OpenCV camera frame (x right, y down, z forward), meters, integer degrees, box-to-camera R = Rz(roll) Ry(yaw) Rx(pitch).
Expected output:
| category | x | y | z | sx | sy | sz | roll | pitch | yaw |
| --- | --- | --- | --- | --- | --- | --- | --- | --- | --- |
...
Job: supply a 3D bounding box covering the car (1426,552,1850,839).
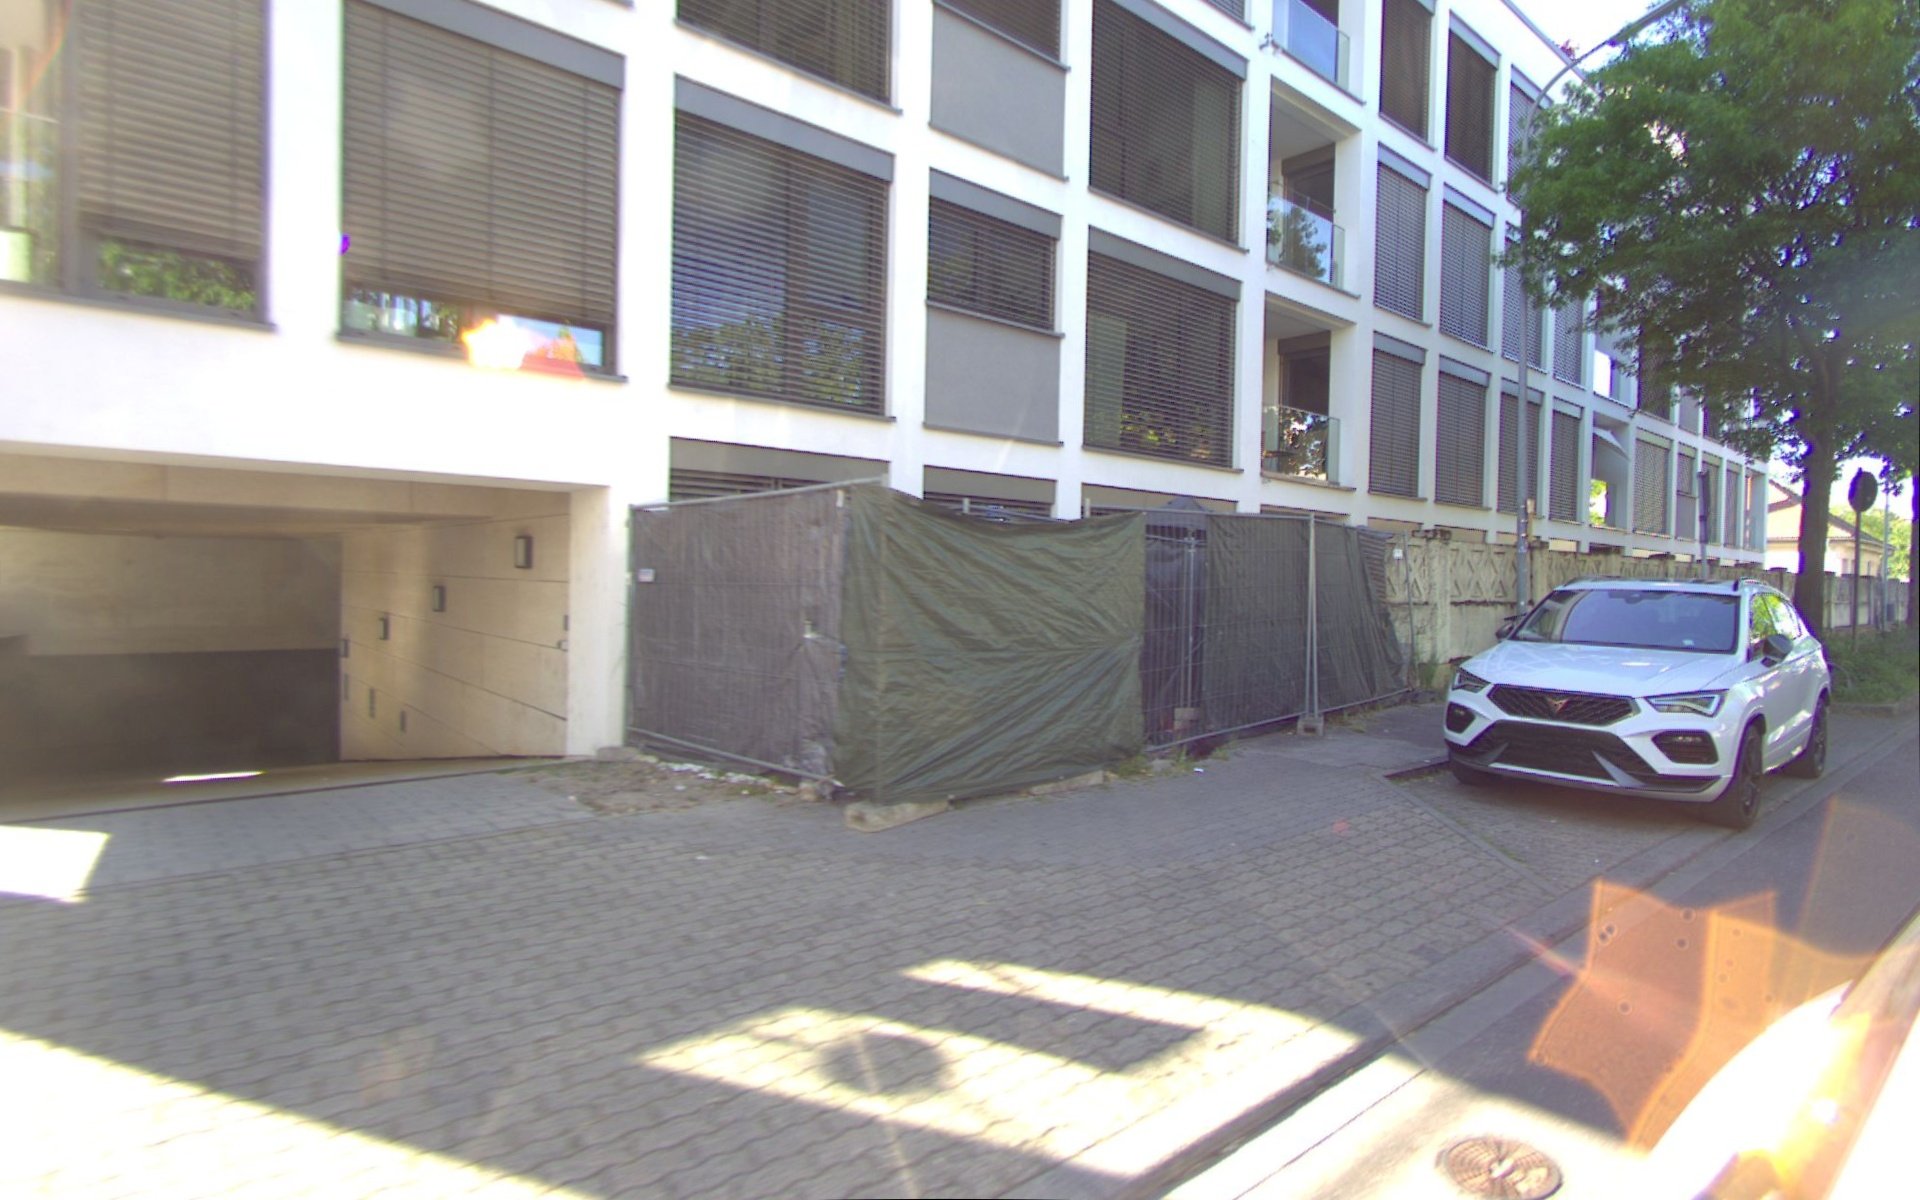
| category | x | y | z | sx | sy | sz | roll | pitch | yaw |
| --- | --- | --- | --- | --- | --- | --- | --- | --- | --- |
| car | 5.376 | 0.528 | 7.807 | 4.056 | 1.636 | 1.795 | 0 | 0 | -42 |
